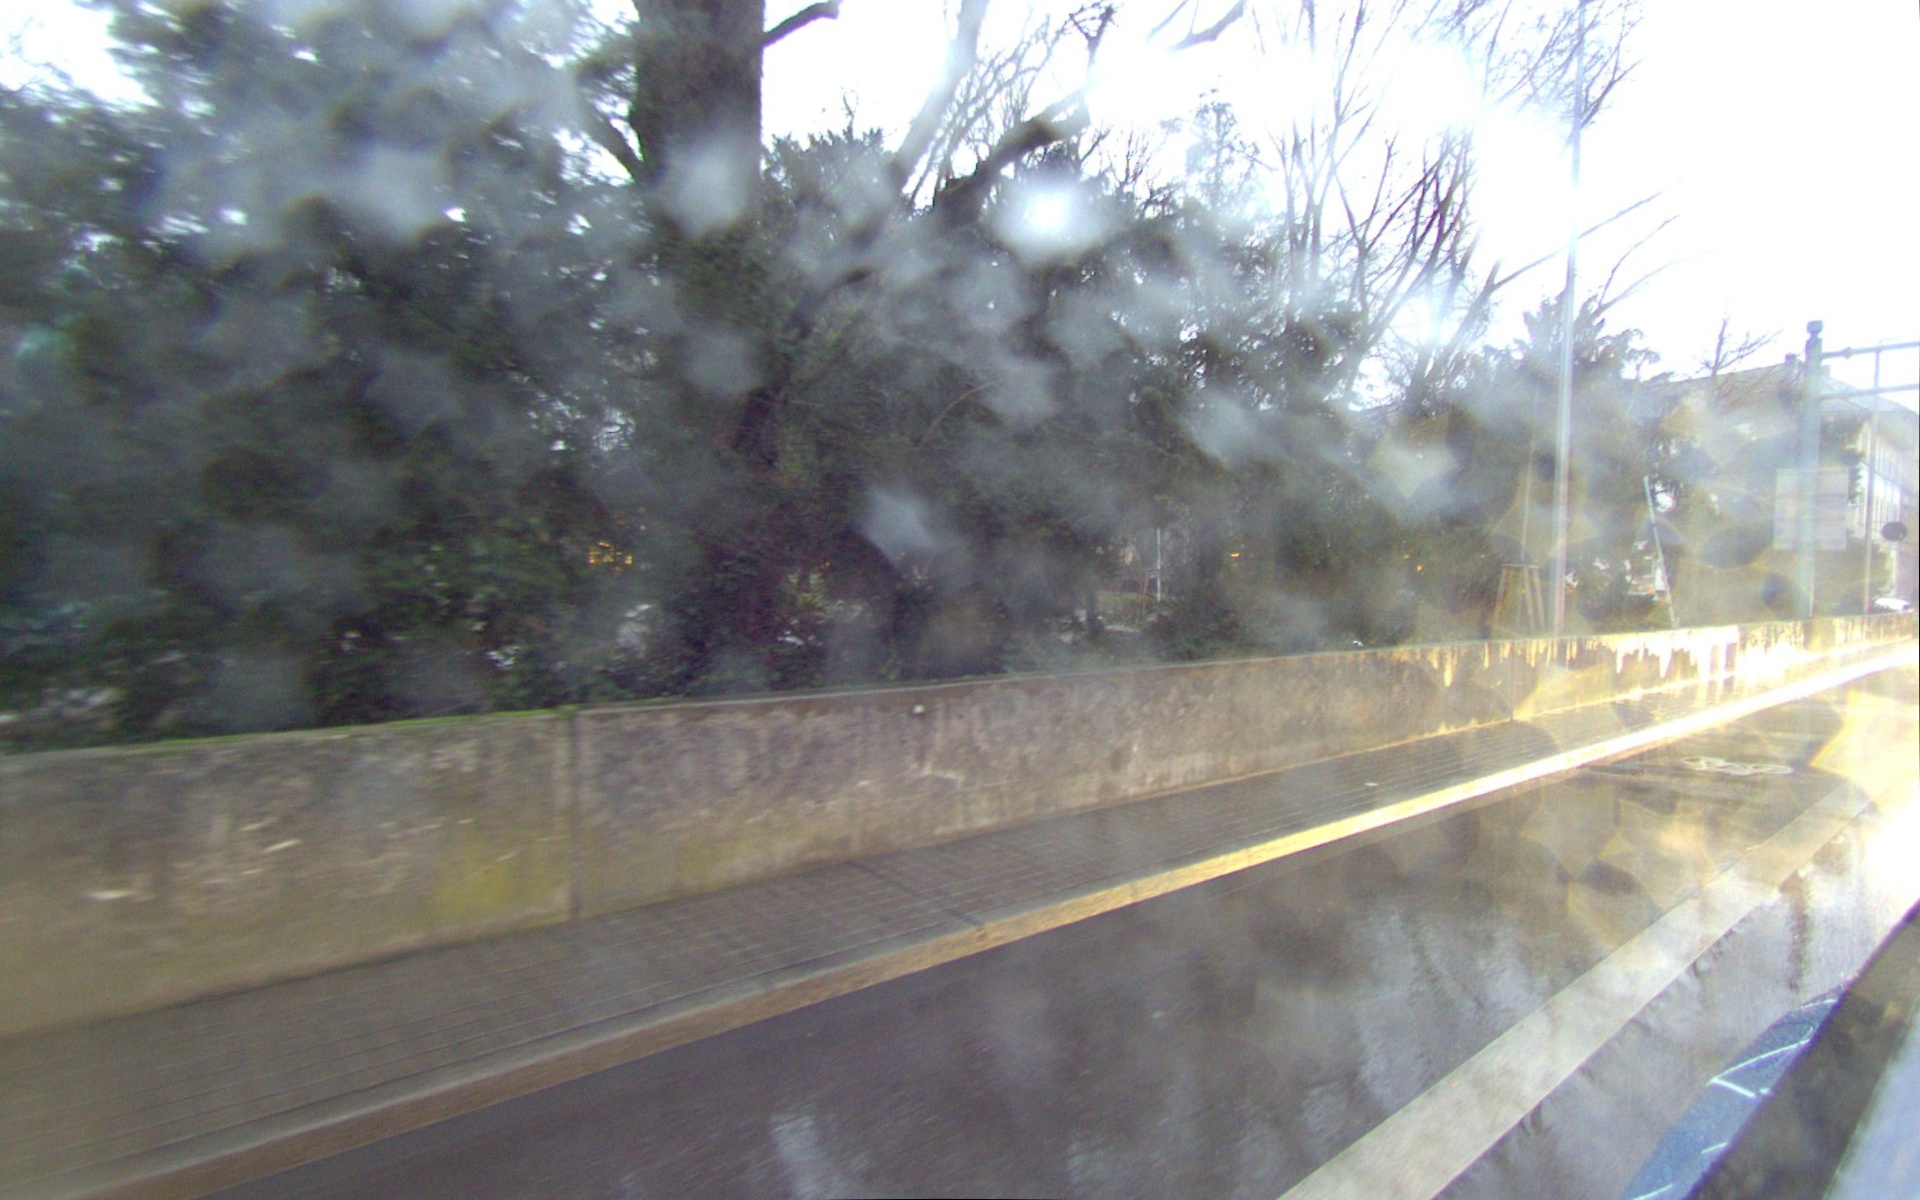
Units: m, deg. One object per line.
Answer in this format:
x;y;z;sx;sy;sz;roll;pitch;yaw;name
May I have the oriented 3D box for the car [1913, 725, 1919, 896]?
6.619;0.612;5.333;4.098;1.580;1.885;0;2;-41;car
